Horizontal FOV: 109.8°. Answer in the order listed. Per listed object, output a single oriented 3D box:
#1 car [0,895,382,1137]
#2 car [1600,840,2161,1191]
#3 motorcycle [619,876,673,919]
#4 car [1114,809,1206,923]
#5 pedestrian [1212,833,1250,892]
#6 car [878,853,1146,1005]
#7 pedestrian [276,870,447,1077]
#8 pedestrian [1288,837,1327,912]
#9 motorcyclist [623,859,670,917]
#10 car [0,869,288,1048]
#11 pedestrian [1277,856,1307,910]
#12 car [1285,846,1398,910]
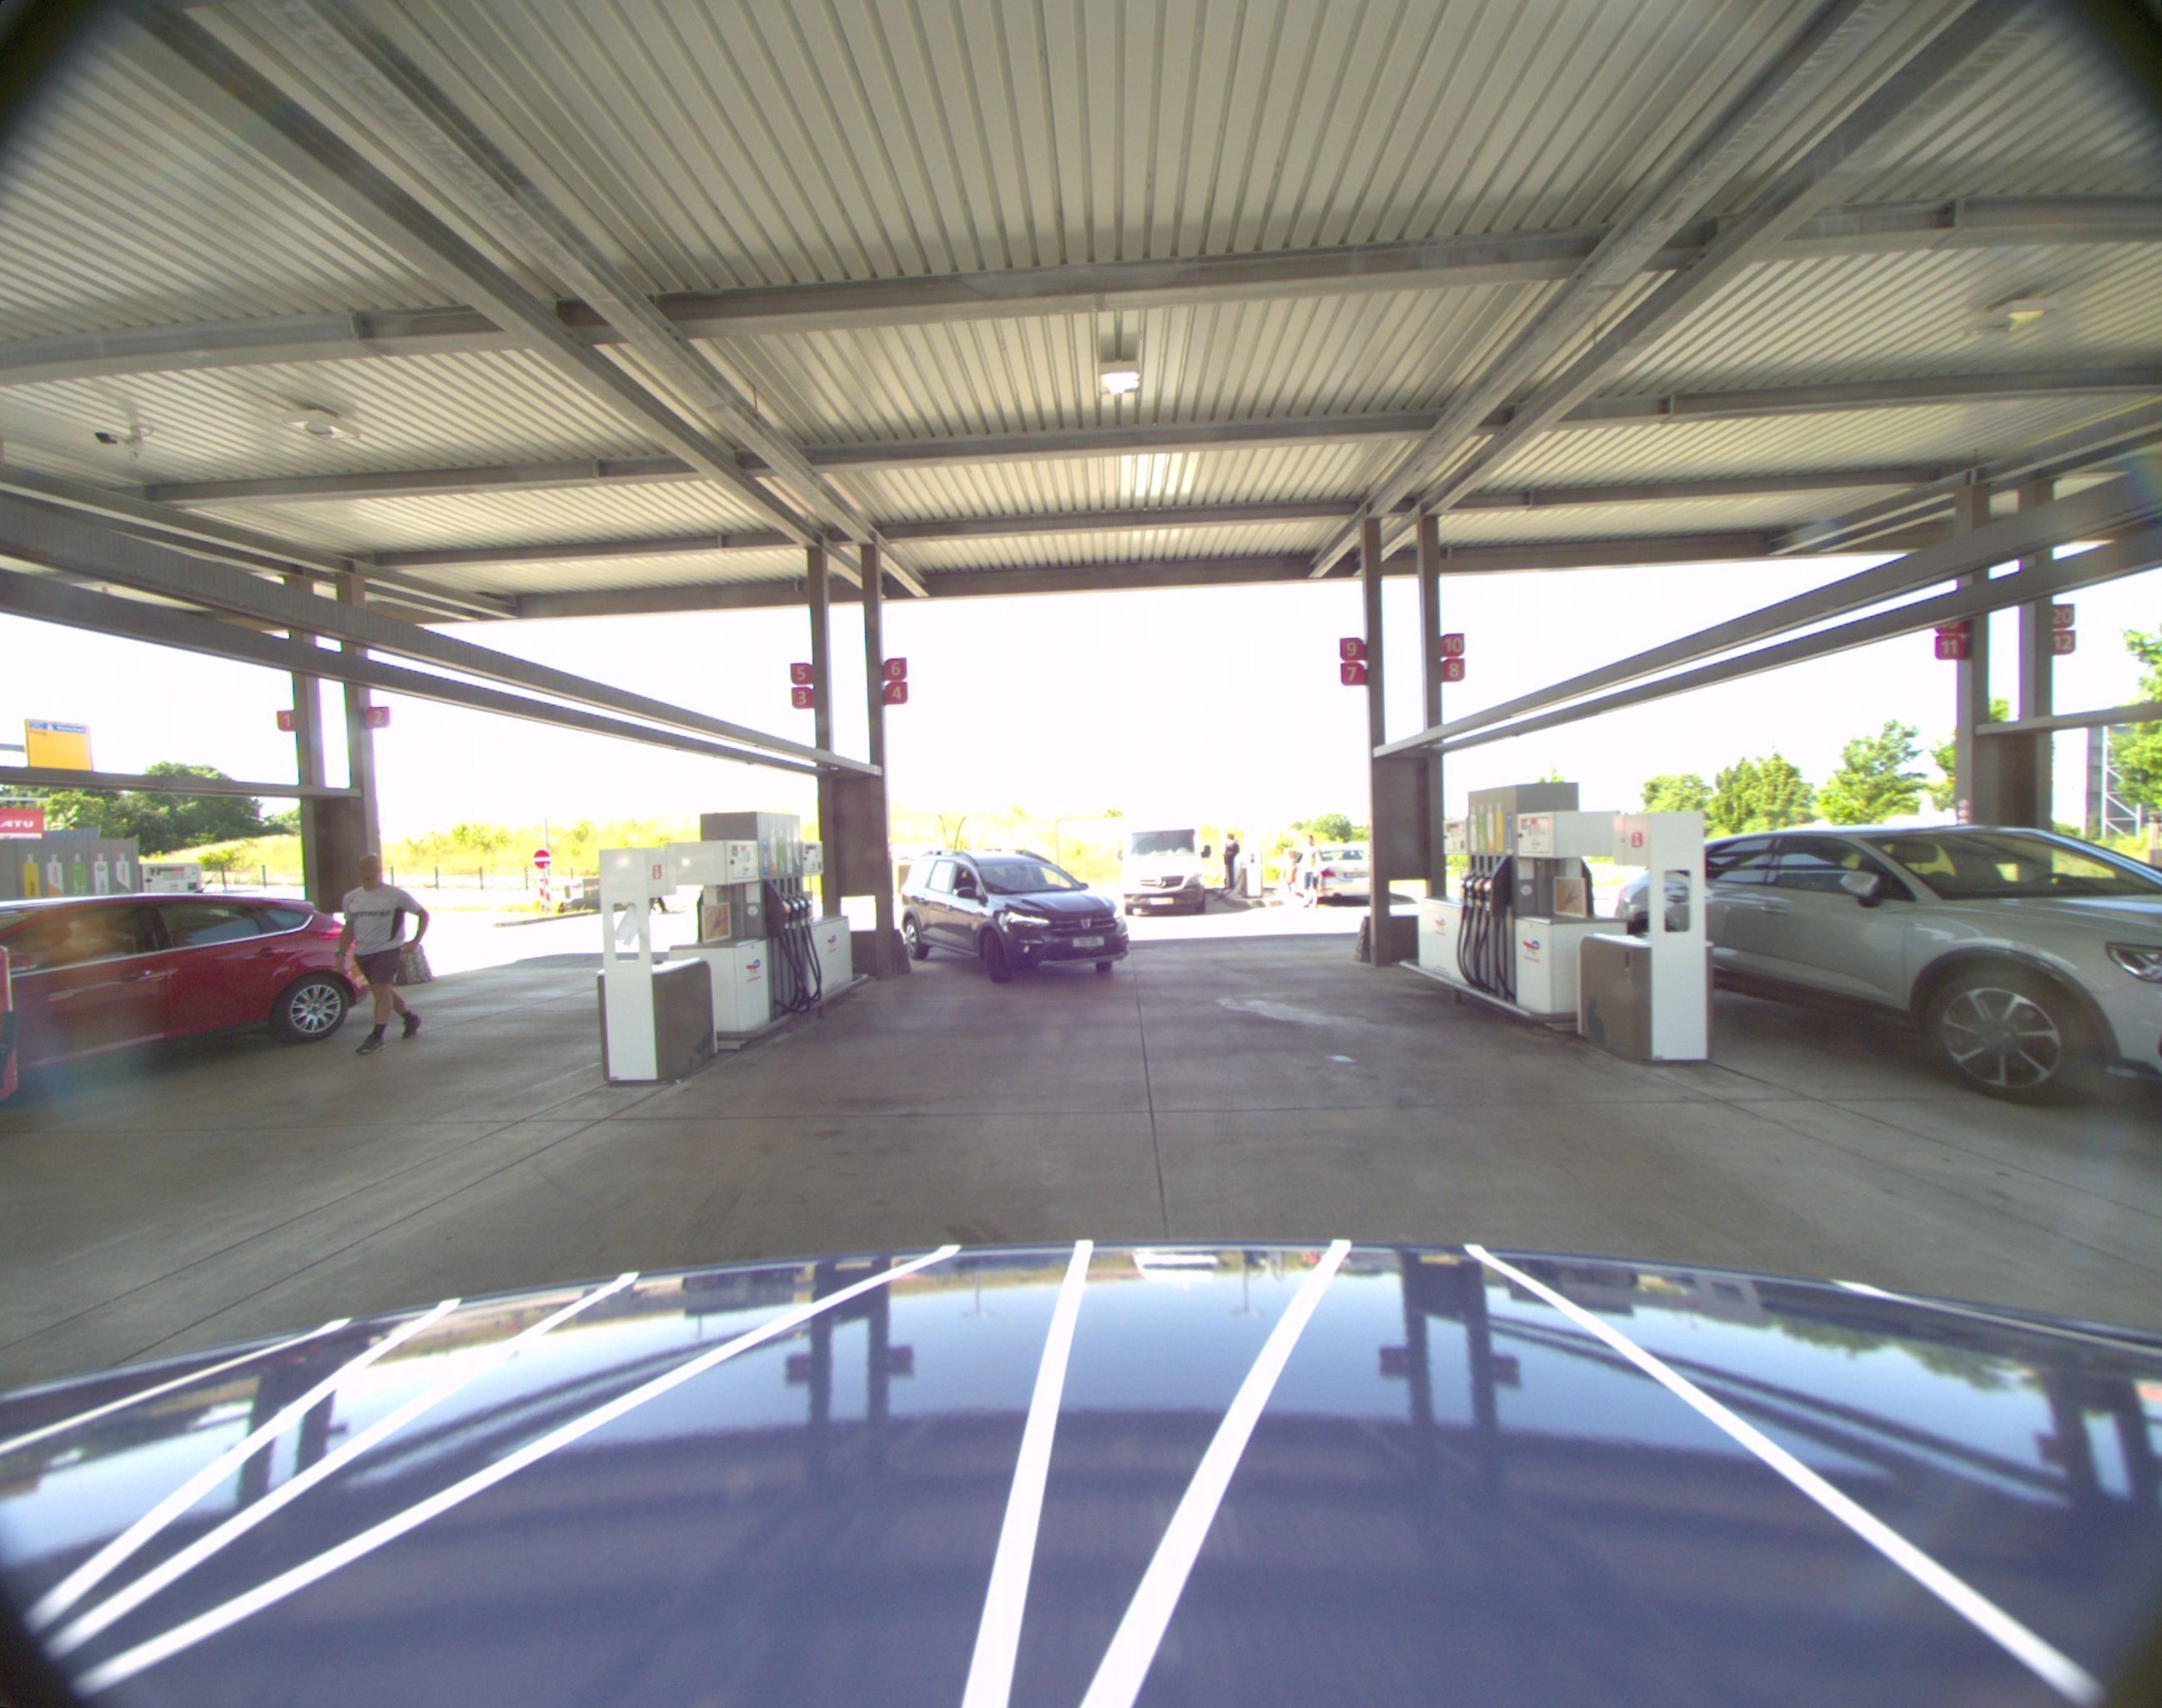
[{"bbox_3d":[-8.071,1.186,5.625,1.702,1.460,4.233,-2,0,3],"label":"car"},{"bbox_3d":[5.830,0.701,5.202,1.784,1.532,4.326,-2,0,3],"label":"car"},{"bbox_3d":[-13.157,1.297,23.062,1.047,1.099,2.411,-2,1,-21],"label":"motorcycle"},{"bbox_3d":[2.369,0.127,20.770,1.997,2.557,7.033,-1,3,10],"label":"car"},{"bbox_3d":[4.552,0.244,23.072,0.843,1.759,0.711,-1,1,43],"label":"pedestrian"},{"bbox_3d":[-1.226,0.855,10.794,1.747,1.635,4.620,-2,1,-34],"label":"car"},{"bbox_3d":[-6.433,1.007,6.858,0.704,1.693,0.927,-2,1,-14],"label":"pedestrian"},{"bbox_3d":[5.386,0.481,18.092,0.708,1.739,0.845,-2,1,5],"label":"pedestrian"},{"bbox_3d":[-13.114,1.003,22.959,1.036,1.678,1.097,-2,1,-22],"label":"motorcyclist"},{"bbox_3d":[-12.602,1.137,9.103,2.035,1.840,4.792,-1,0,-14],"label":"car"},{"bbox_3d":[5.232,0.709,18.840,0.577,1.299,0.669,-2,1,5],"label":"pedestrian"},{"bbox_3d":[6.820,0.554,20.333,1.791,1.420,4.322,-2,2,4],"label":"car"}]
